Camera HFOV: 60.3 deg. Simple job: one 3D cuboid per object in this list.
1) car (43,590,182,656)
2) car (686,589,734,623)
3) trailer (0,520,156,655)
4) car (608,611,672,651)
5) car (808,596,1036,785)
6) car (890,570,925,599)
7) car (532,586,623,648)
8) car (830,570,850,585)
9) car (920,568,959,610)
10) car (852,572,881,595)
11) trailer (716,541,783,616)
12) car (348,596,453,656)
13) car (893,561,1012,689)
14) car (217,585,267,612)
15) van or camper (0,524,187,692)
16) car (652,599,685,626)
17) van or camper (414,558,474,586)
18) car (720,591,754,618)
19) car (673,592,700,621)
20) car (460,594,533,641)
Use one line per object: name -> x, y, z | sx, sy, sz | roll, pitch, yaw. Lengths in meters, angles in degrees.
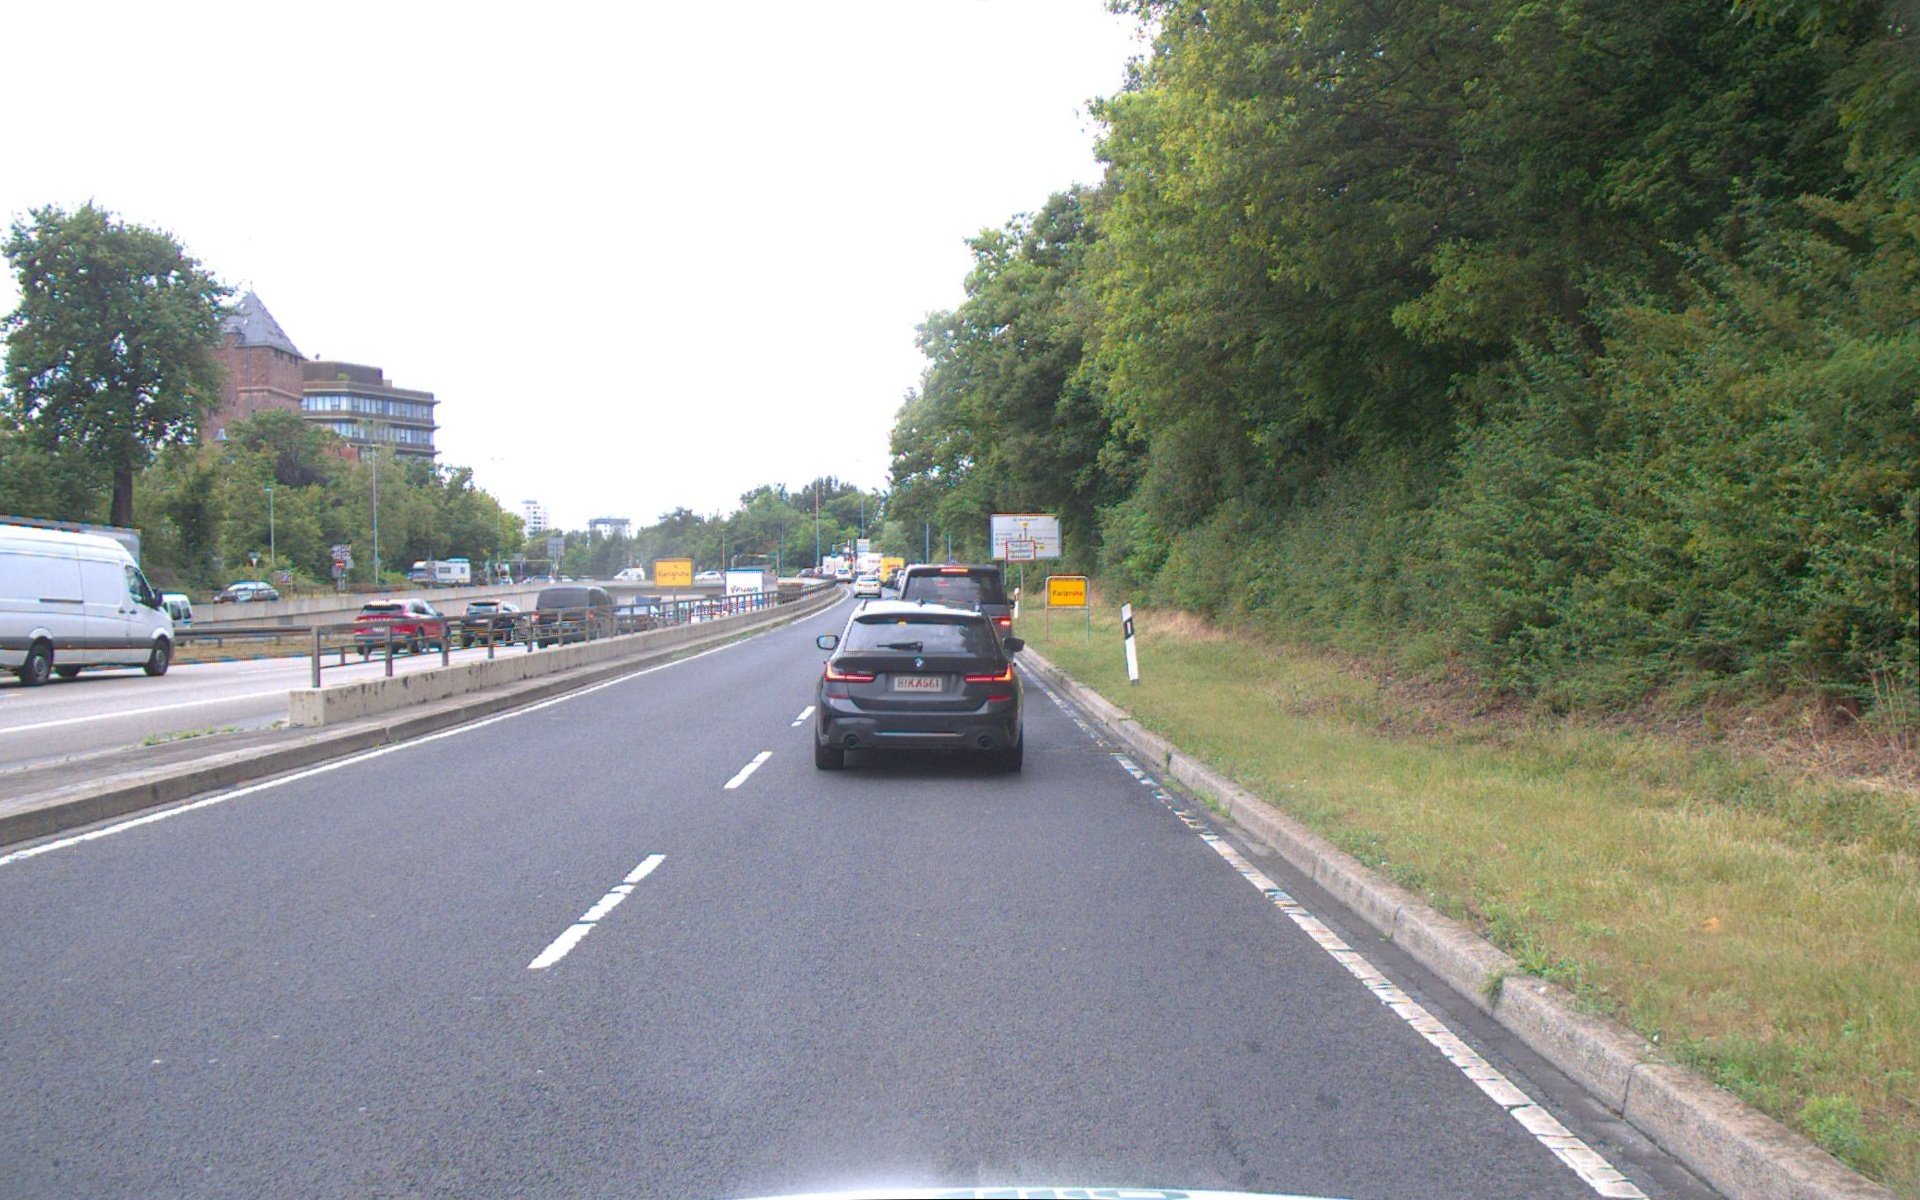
car -> -24.272, 0.631, 47.534 | 1.953, 1.796, 3.999 | 0, 0, -1
car -> -13.191, 0.293, 87.535 | 1.906, 1.721, 4.506 | 0, 0, -1
trailer -> -28.517, -0.363, 48.869 | 2.538, 3.823, 14.723 | 0, 0, -1
car -> -12.803, 1.208, 66.371 | 1.678, 1.482, 4.666 | 0, 0, 0
car -> -0.394, 0.712, 15.144 | 1.809, 1.492, 3.998 | 0, 0, -3
car -> -2.765, -0.819, 87.177 | 1.821, 1.489, 4.532 | 0, 0, -2
car -> -12.053, 0.502, 52.421 | 1.953, 1.883, 4.809 | 0, 0, -3
car -> -13.746, -2.571, 189.708 | 1.895, 1.624, 3.868 | 0, 0, -9
car -> -0.791, -0.417, 62.901 | 1.423, 1.567, 3.224 | 0, 0, -1
car -> -6.245, -1.122, 110.763 | 1.821, 1.489, 4.882 | 0, 0, -2
trailer -> -14.444, -1.426, 114.645 | 3.069, 4.807, 14.554 | 1, 0, -1
car -> -16.825, 0.750, 49.939 | 1.852, 1.711, 4.304 | 0, 0, -2
car -> -0.136, 0.362, 26.475 | 1.759, 1.904, 3.999 | 0, 0, -1
car -> -37.441, -0.090, 86.334 | 1.307, 1.399, 3.172 | 0, 0, -2
van or camper -> -16.346, 0.117, 29.507 | 2.008, 2.667, 6.954 | 0, 0, -2
car -> -19.076, 0.786, 108.351 | 1.654, 1.660, 3.733 | 1, 0, -2
van or camper -> -52.866, -2.819, 169.410 | 1.889, 2.683, 5.623 | 1, 0, 44
car -> -13.582, 0.273, 100.868 | 1.733, 1.577, 3.491 | 0, 0, -2
car -> -20.026, 0.445, 121.185 | 1.414, 2.080, 3.680 | 0, 0, 0
car -> -17.058, 0.622, 61.026 | 1.653, 1.636, 4.006 | 1, 0, -2
